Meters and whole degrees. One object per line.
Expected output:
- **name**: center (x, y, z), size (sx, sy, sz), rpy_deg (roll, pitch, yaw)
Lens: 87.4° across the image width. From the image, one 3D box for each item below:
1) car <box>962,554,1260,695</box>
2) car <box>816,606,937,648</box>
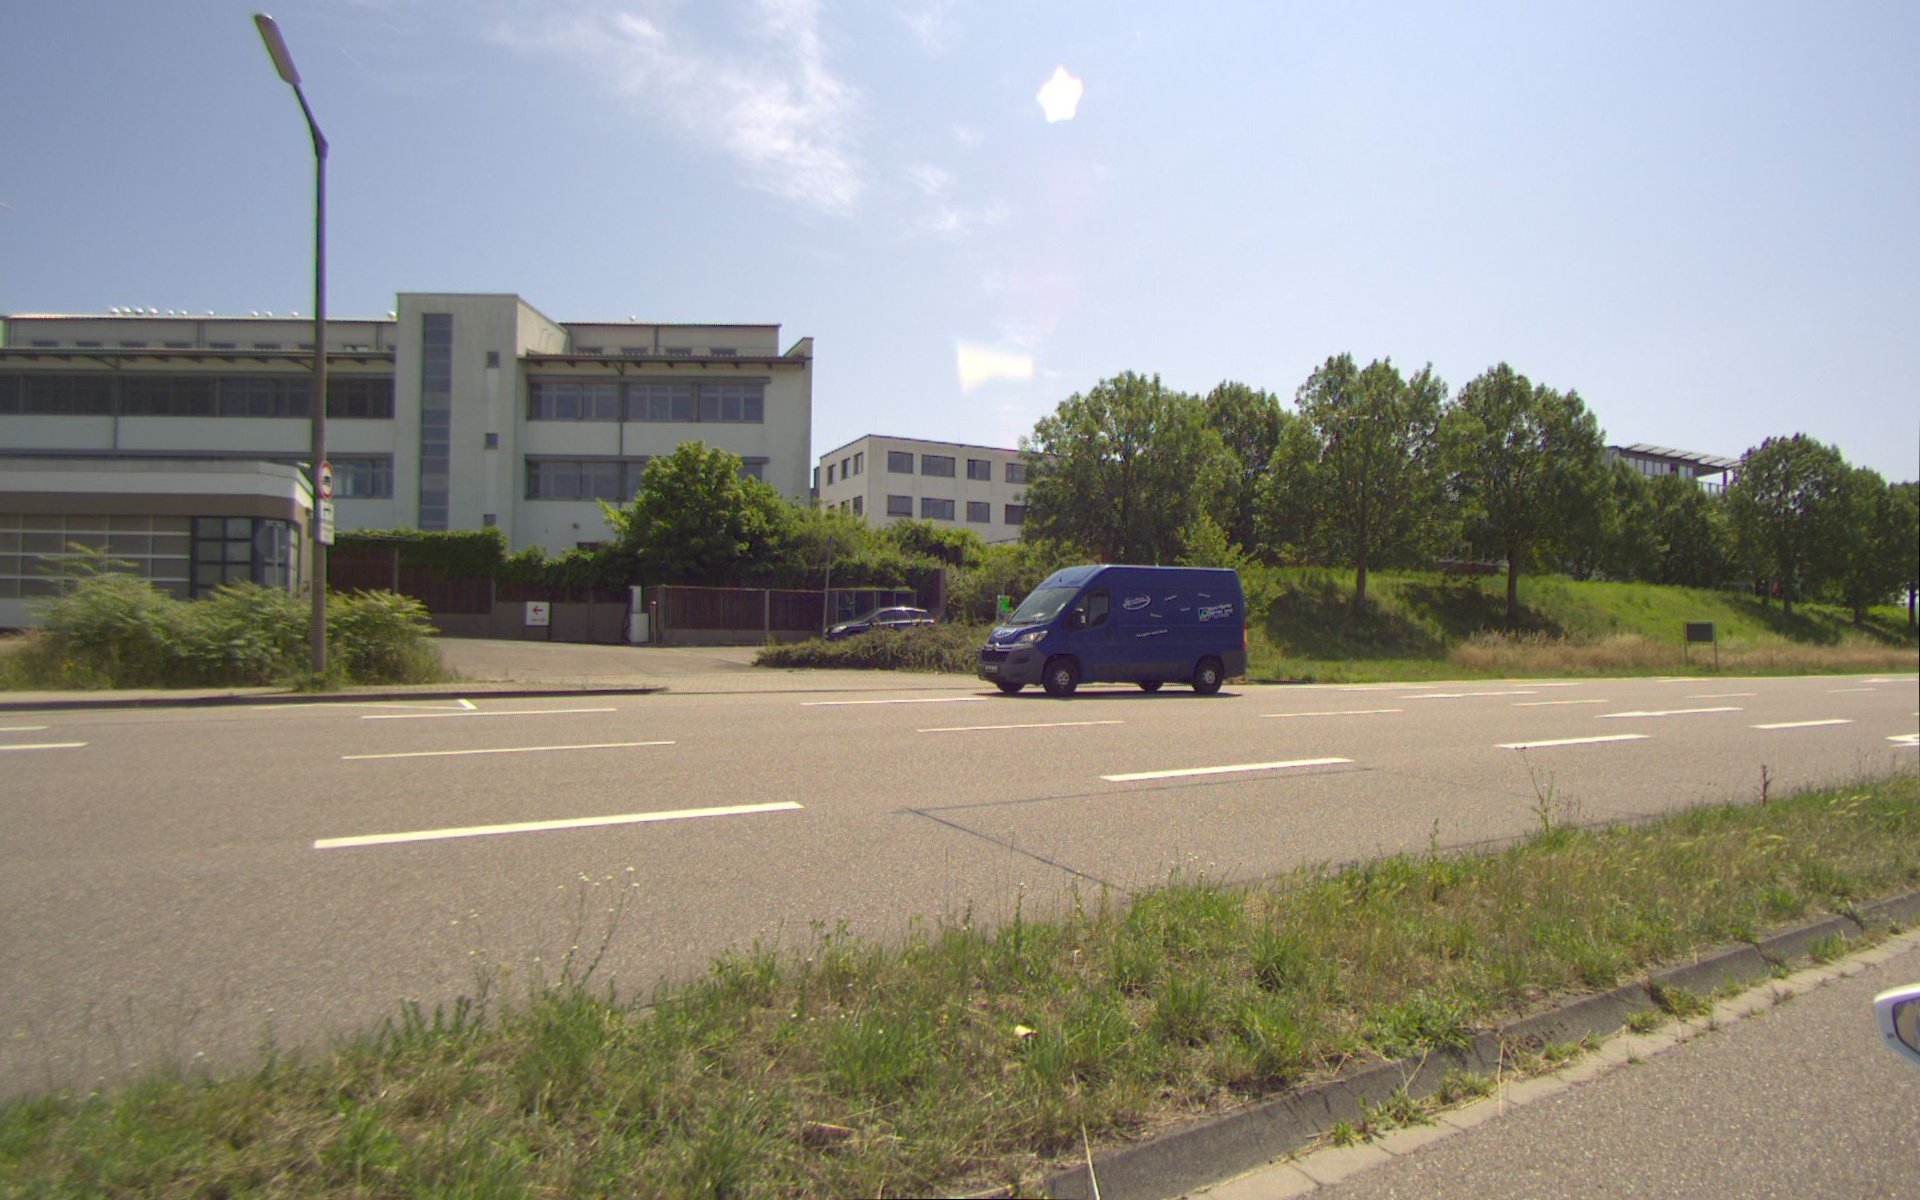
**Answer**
- **car**: center (3.006, 0.490, 19.688), size (5.599, 2.443, 2.166), rpy_deg (1, -1, -28)
- **car**: center (-3.002, 0.985, 35.893), size (3.941, 1.428, 1.874), rpy_deg (1, -1, -21)
